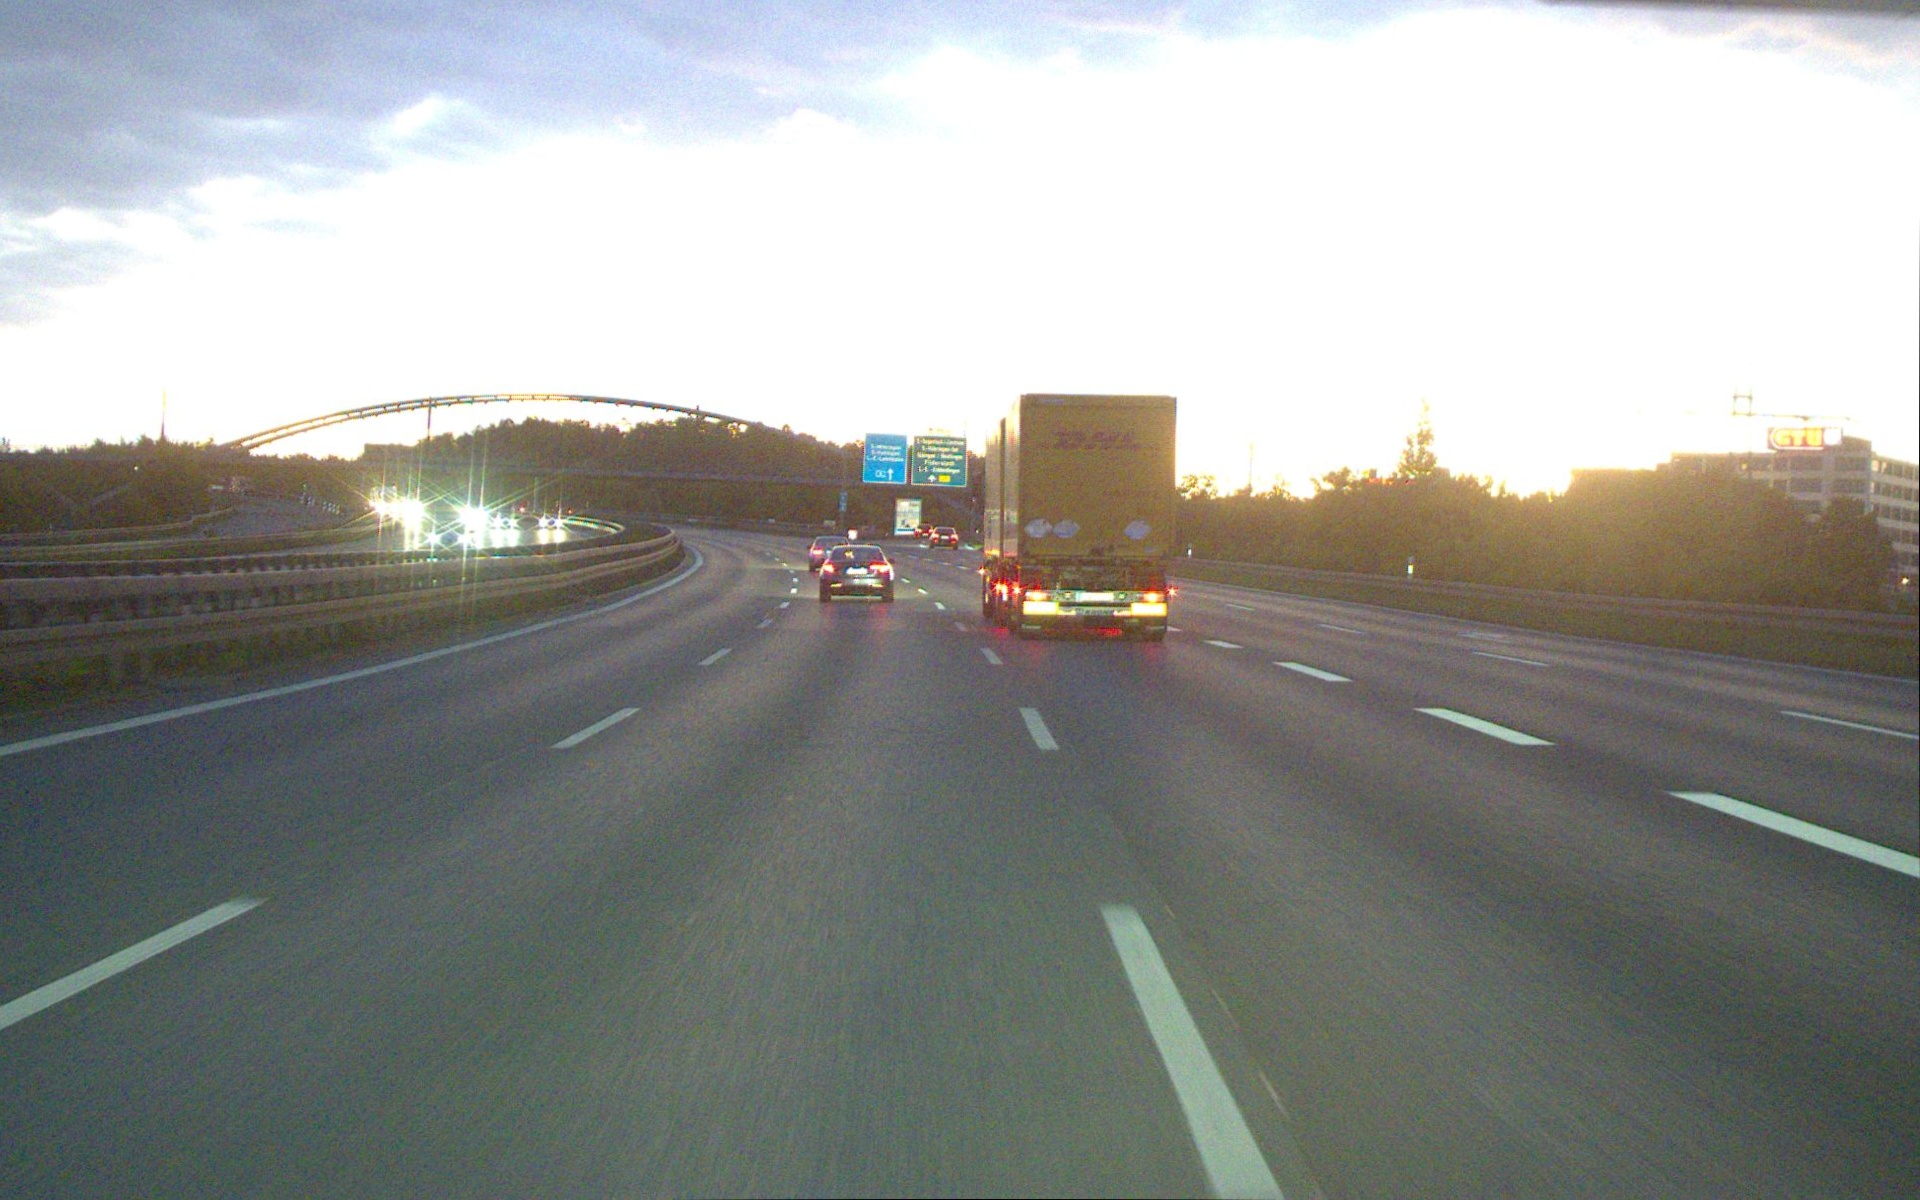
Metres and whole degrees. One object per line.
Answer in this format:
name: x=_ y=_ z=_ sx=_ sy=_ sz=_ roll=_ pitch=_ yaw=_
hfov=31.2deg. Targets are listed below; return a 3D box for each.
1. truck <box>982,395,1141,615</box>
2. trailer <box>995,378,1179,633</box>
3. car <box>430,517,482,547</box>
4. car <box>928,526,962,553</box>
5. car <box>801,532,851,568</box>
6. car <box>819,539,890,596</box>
truck: x=1.925 y=-1.906 z=69.330 sx=2.690 sy=4.057 sz=10.521 roll=1 pitch=2 yaw=-1
trailer: x=2.081 y=-1.633 z=59.668 sx=2.722 sy=4.057 sz=8.832 roll=1 pitch=2 yaw=-1
car: x=-23.661 y=-3.200 z=161.483 sx=1.993 sy=1.353 sz=4.866 roll=1 pitch=2 yaw=-3
car: x=-1.051 y=-4.120 z=233.452 sx=1.993 sy=1.711 sz=4.000 roll=2 pitch=0 yaw=-4
car: x=-5.348 y=-1.991 z=137.335 sx=1.689 sy=1.397 sz=3.408 roll=0 pitch=0 yaw=3
car: x=-2.690 y=-0.810 z=87.197 sx=1.689 sy=1.396 sz=3.409 roll=1 pitch=0 yaw=-3
